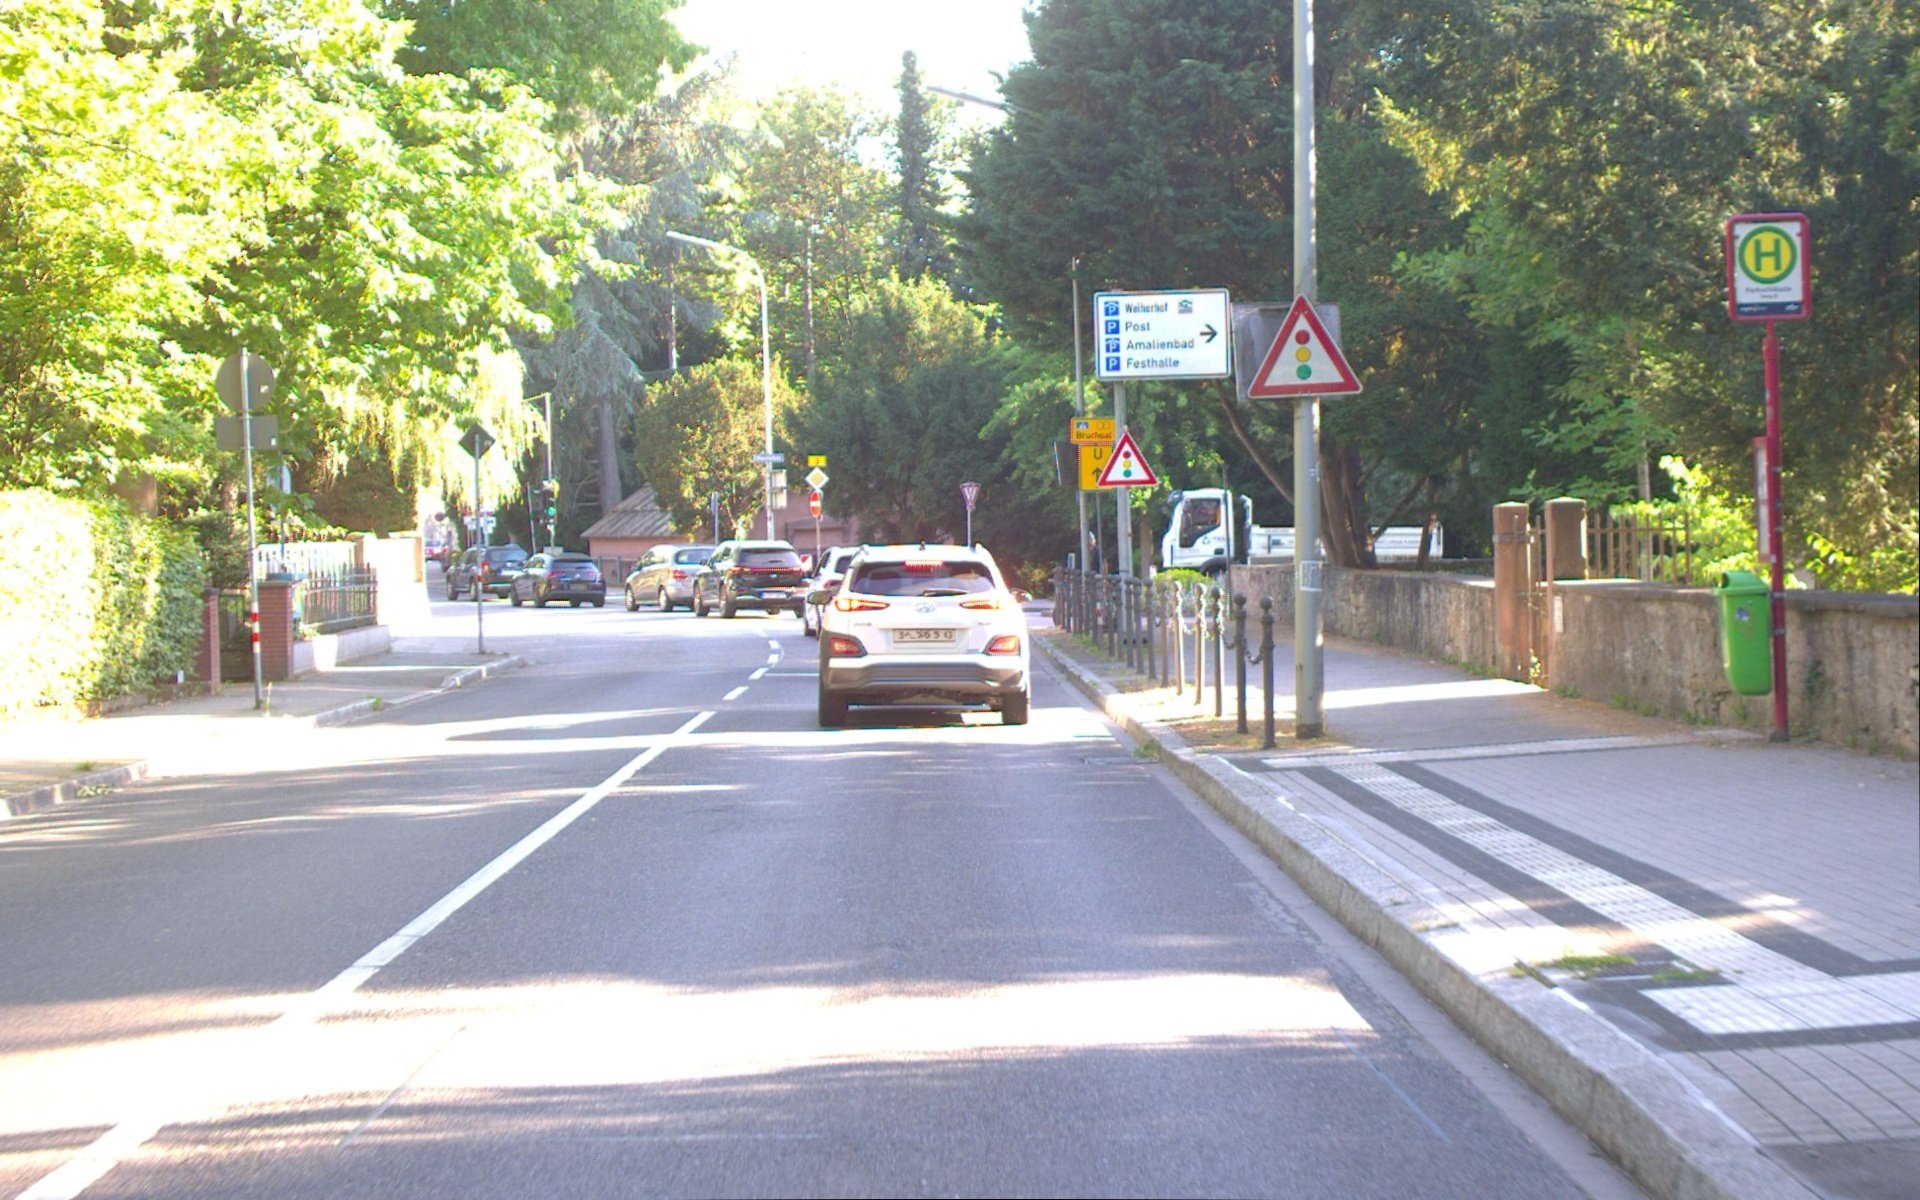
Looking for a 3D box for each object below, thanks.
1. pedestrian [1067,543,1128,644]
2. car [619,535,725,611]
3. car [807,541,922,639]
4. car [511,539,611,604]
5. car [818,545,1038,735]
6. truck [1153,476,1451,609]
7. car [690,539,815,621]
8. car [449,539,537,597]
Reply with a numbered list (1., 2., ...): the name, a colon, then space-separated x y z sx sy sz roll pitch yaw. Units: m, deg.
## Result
1. pedestrian: 2.519 -0.120 62.969 0.940 1.820 0.554 0 3 -39
2. car: -6.781 -0.652 80.557 1.831 1.735 4.001 0 1 -14
3. car: -1.564 -0.187 56.484 1.805 1.532 4.000 1 1 -2
4. car: -10.519 -0.768 90.465 1.831 1.656 4.001 0 1 -18
5. car: -0.314 0.305 30.903 1.820 1.568 4.000 1 1 -1
6. truck: 7.717 -1.308 77.909 6.588 2.885 2.433 1 1 4
7. car: -4.401 -0.441 72.313 1.831 1.656 4.001 0 1 -15
8. car: -13.845 -0.971 101.737 1.831 1.656 4.001 0 1 -19
